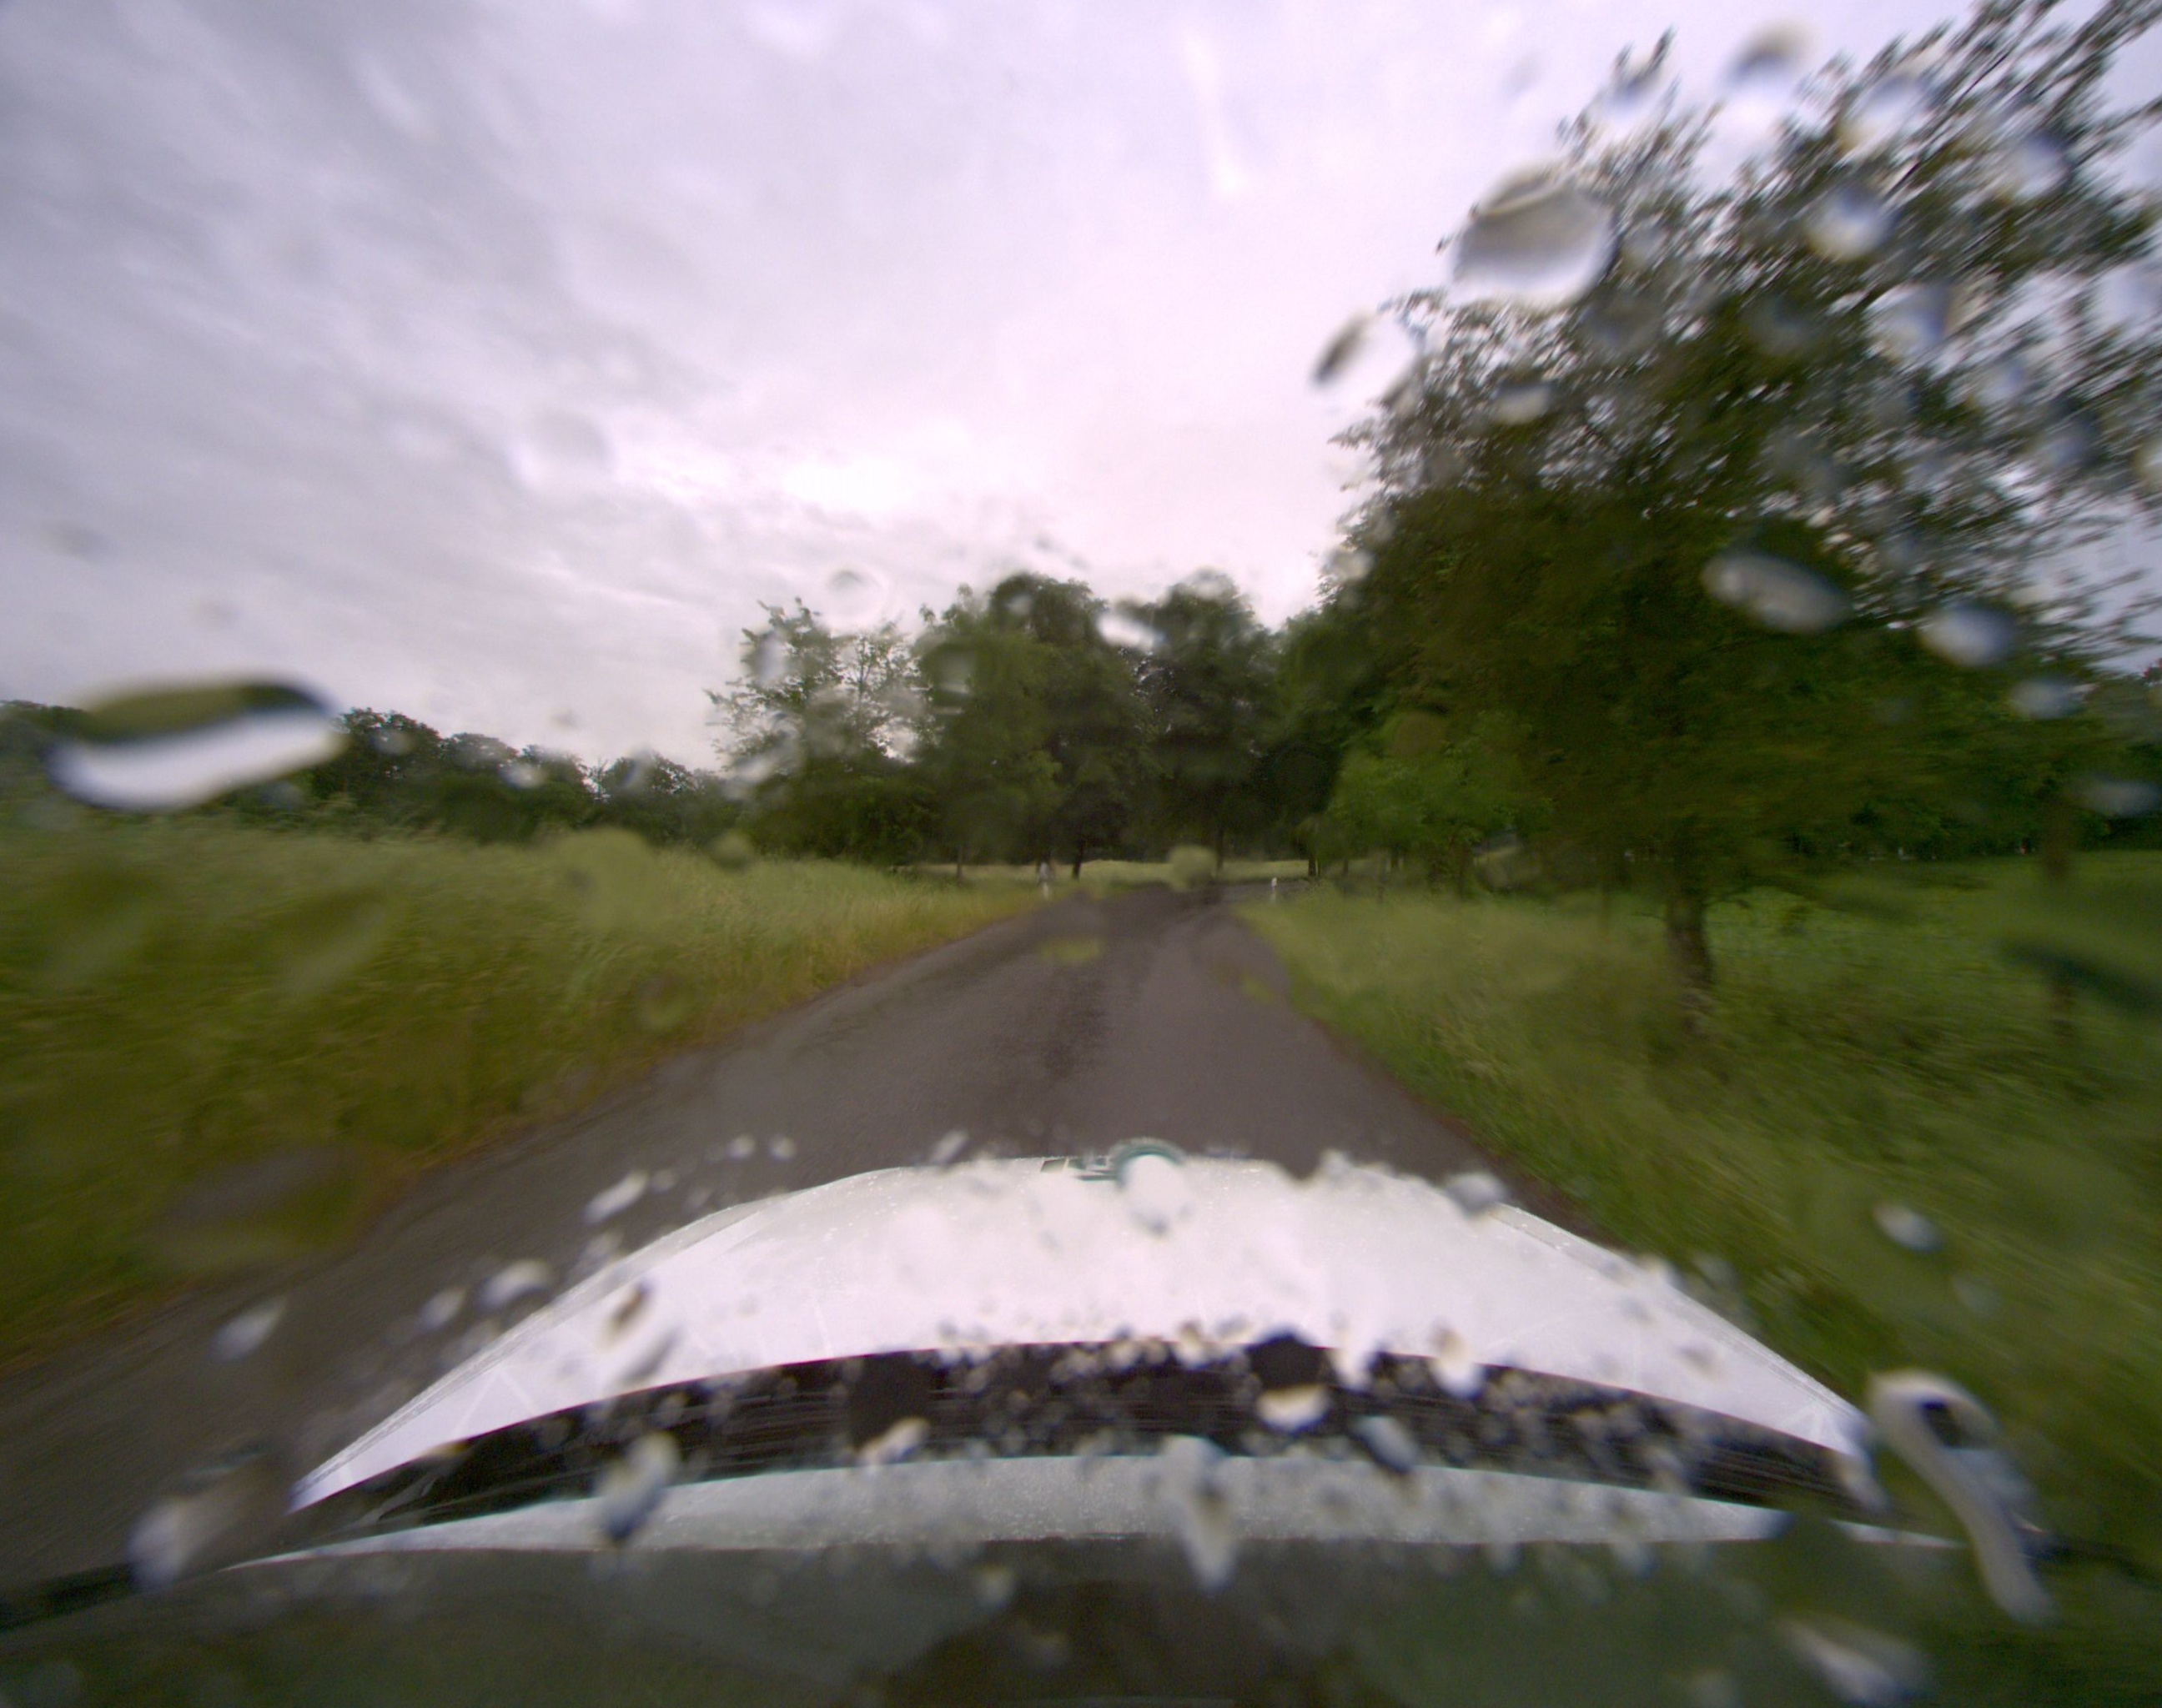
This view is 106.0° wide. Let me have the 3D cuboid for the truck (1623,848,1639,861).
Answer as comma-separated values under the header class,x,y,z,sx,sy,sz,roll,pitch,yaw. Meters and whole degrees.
class,x,y,z,sx,sy,sz,roll,pitch,yaw
truck,99.809,0.085,147.753,1.852,2.443,3.370,-1,-1,42
